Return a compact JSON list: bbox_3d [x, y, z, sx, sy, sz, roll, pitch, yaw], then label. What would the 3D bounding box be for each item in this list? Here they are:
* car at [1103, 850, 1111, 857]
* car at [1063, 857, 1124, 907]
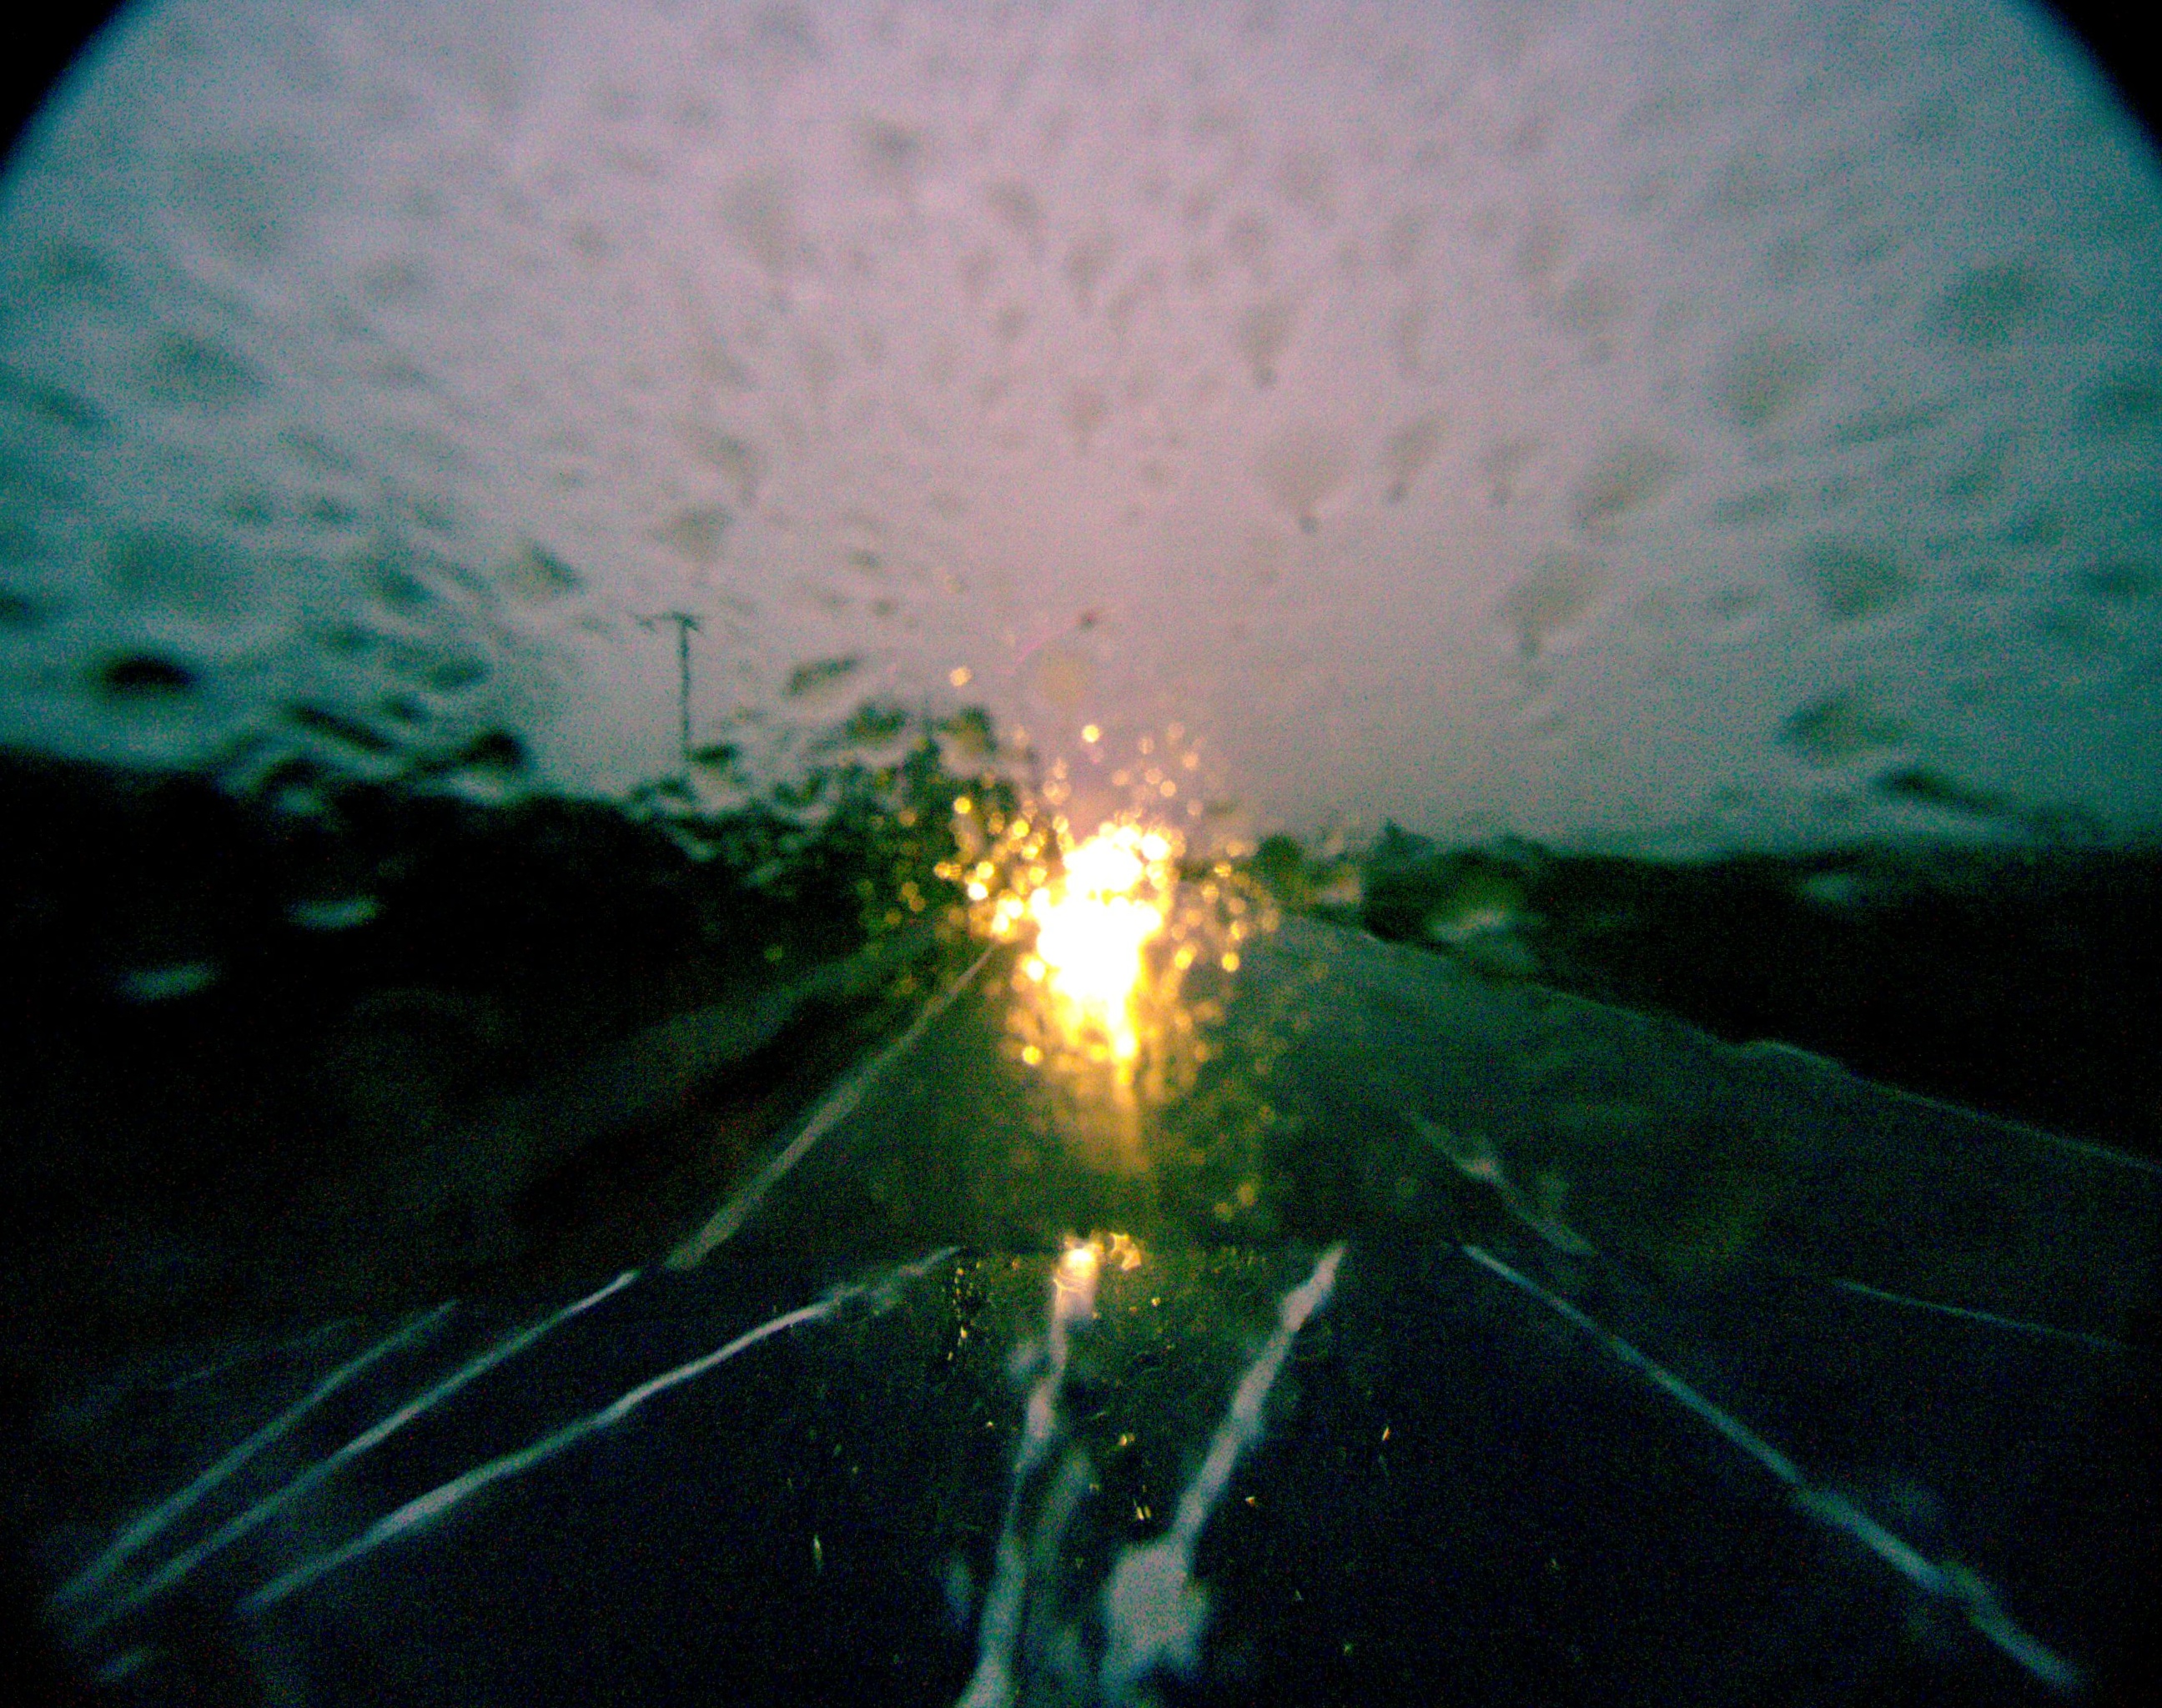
[{"bbox_3d":[6.183,-0.132,179.702,1.844,1.711,3.956,-2,1,0],"label":"car"},{"bbox_3d":[0.410,0.888,25.817,1.844,1.484,3.956,-2,1,0],"label":"car"}]
